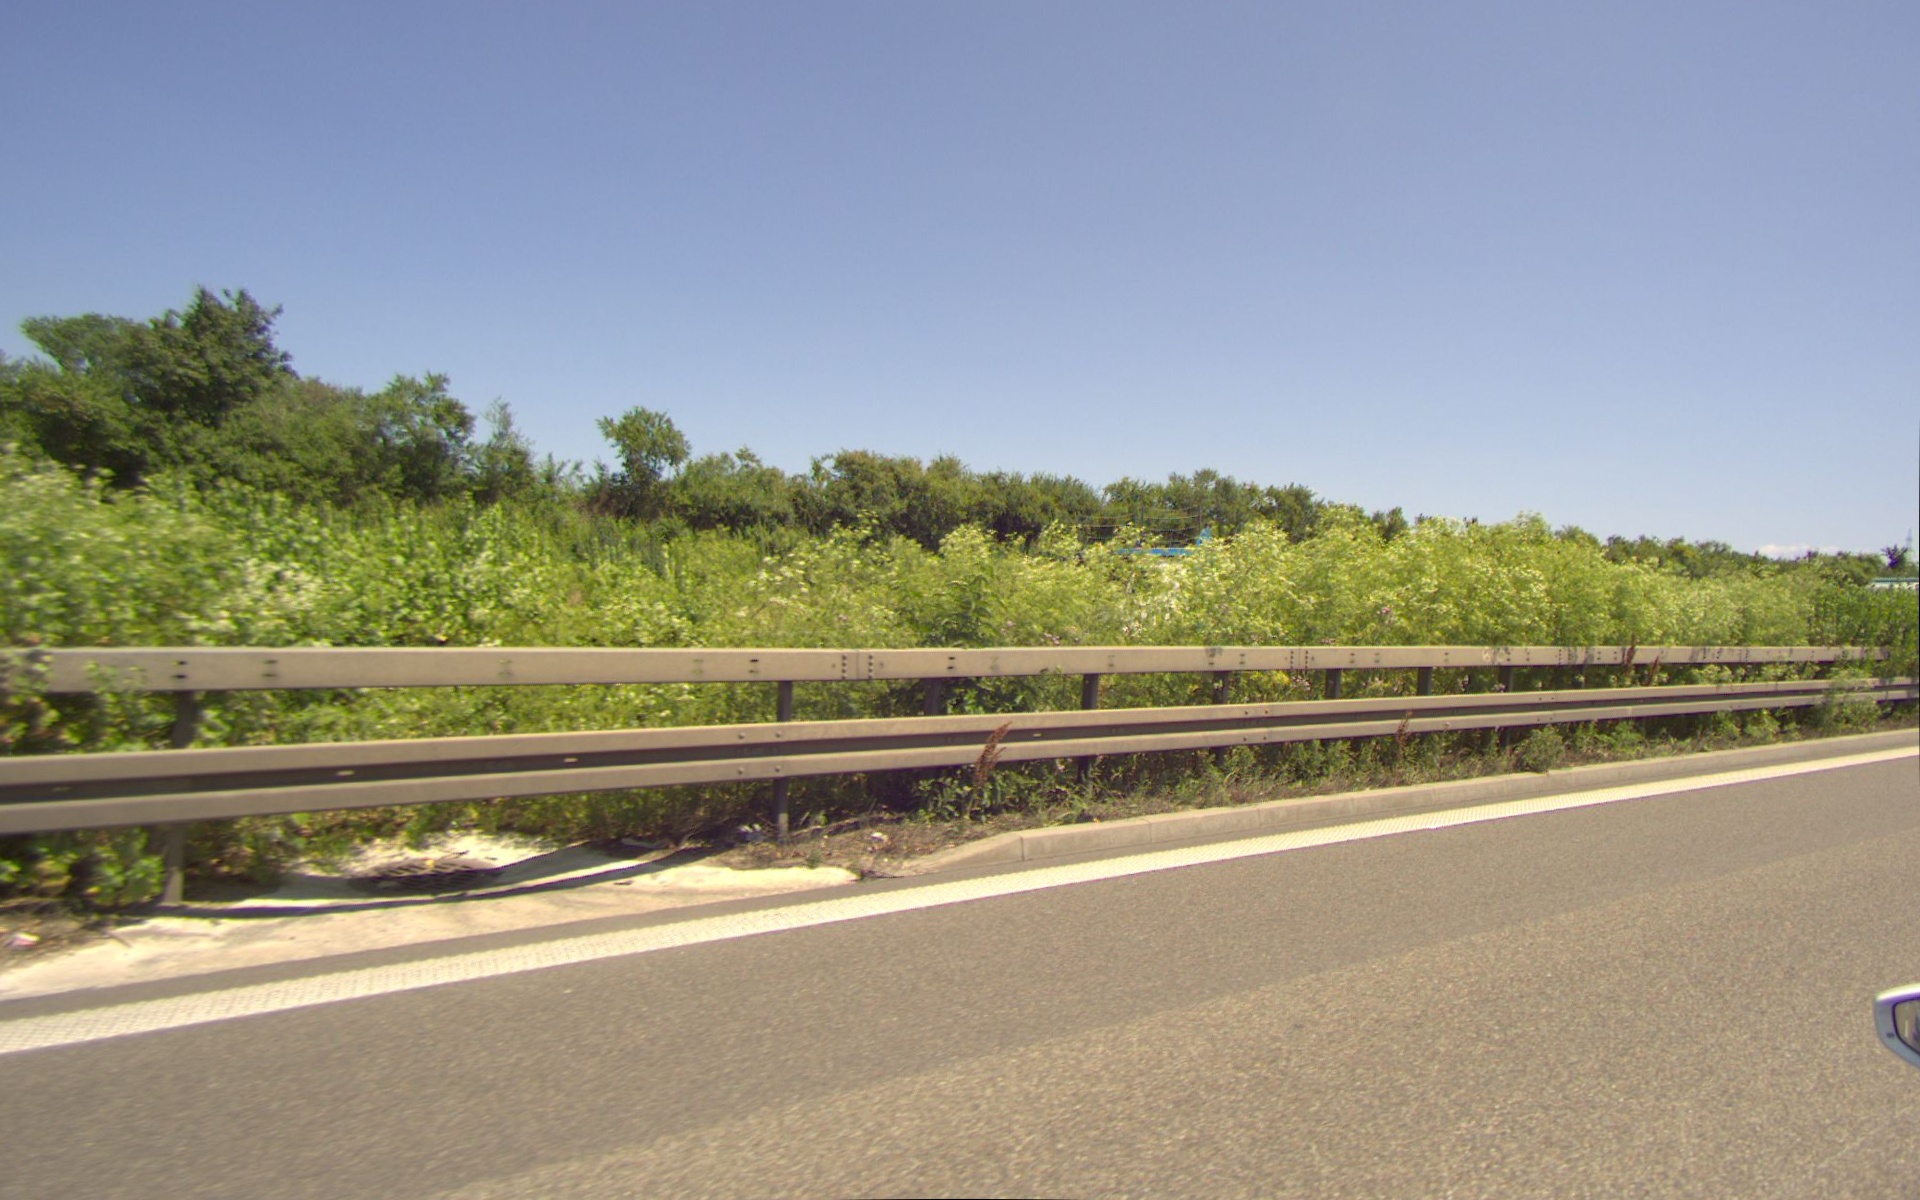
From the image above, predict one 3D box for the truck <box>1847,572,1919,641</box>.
[{"bbox_3d":[55.721,0.553,57.569,16.850,3.565,2.659,2,-1,-32],"label":"truck"}]
